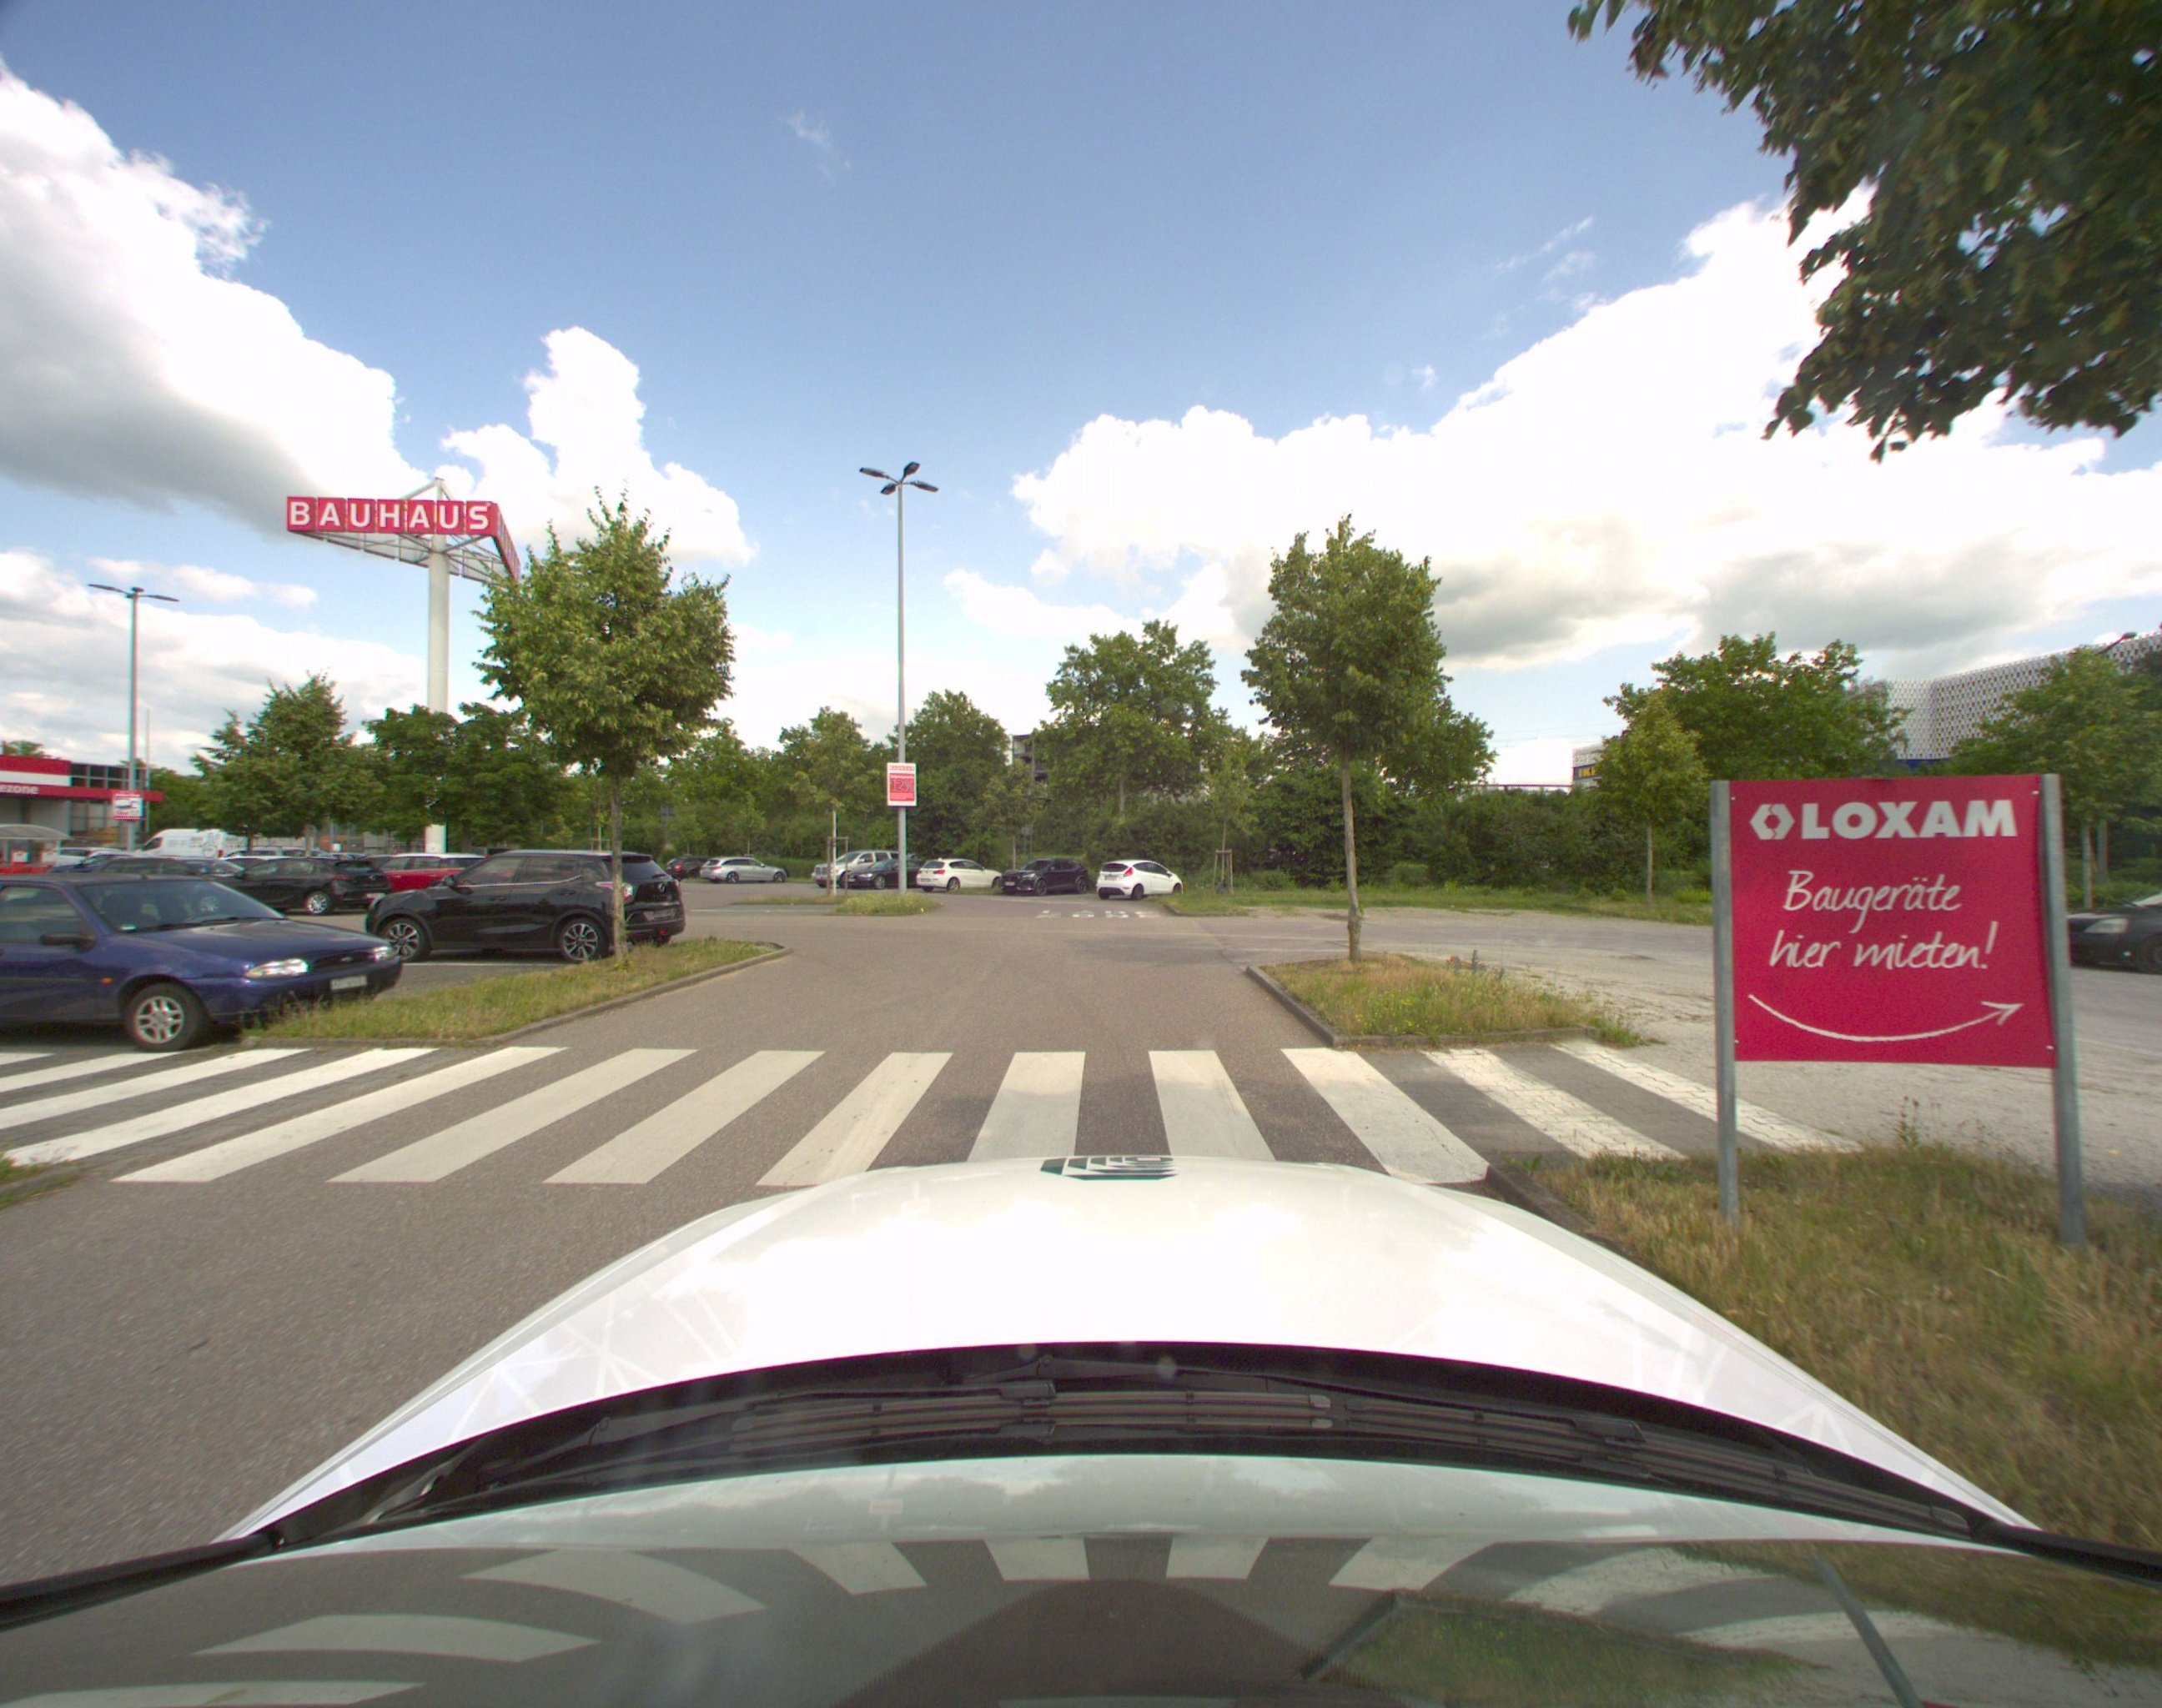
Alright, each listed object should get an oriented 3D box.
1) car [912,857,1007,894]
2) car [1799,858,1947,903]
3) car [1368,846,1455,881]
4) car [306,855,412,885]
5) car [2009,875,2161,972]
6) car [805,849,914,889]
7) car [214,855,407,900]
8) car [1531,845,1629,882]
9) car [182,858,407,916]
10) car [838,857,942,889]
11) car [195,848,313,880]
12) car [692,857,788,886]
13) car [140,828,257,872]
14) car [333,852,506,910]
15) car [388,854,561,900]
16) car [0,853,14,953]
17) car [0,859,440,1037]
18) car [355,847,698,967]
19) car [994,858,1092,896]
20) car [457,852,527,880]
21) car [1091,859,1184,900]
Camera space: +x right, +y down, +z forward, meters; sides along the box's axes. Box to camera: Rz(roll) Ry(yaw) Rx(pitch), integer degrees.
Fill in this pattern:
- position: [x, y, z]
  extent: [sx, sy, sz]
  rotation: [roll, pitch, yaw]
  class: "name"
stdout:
- position: [-5.293, 0.914, 35.960]
  extent: [1.668, 1.509, 4.107]
  rotation: [-1, -1, 39]
  class: "car"
- position: [32.009, 1.113, 33.089]
  extent: [3.948, 1.716, 2.012]
  rotation: [-2, -4, 34]
  class: "car"
- position: [17.397, 0.475, 42.921]
  extent: [3.948, 1.715, 2.013]
  rotation: [0, 0, 34]
  class: "car"
- position: [-36.637, 0.805, 41.413]
  extent: [3.752, 1.446, 1.723]
  rotation: [0, 0, -3]
  class: "car"
- position: [16.563, 1.000, 11.829]
  extent: [3.742, 1.321, 1.620]
  rotation: [0, 0, 22]
  class: "car"
- position: [-10.908, 0.688, 40.446]
  extent: [1.965, 1.842, 5.181]
  rotation: [0, 0, 35]
  class: "car"
- position: [-24.443, 0.725, 25.978]
  extent: [4.255, 1.353, 1.893]
  rotation: [0, 0, -2]
  class: "car"
- position: [23.988, 0.422, 39.201]
  extent: [3.948, 1.715, 2.013]
  rotation: [0, 0, 34]
  class: "car"
- position: [-19.700, 0.802, 20.532]
  extent: [3.862, 1.369, 1.727]
  rotation: [0, 0, -3]
  class: "car"
- position: [-9.033, 0.859, 38.850]
  extent: [1.816, 1.451, 4.755]
  rotation: [0, 0, 37]
  class: "car"
- position: [-41.812, 0.480, 41.236]
  extent: [3.975, 1.596, 1.910]
  rotation: [0, 0, -1]
  class: "car"
- position: [-18.819, 0.946, 45.111]
  extent: [1.761, 1.504, 4.684]
  rotation: [0, 0, 35]
  class: "car"
- position: [-53.141, -0.200, 49.108]
  extent: [4.696, 2.510, 2.053]
  rotation: [1, -1, 1]
  class: "car"
- position: [-18.593, 0.744, 23.009]
  extent: [3.425, 1.581, 1.709]
  rotation: [0, 0, -1]
  class: "car"
- position: [-18.962, 0.692, 25.607]
  extent: [4.062, 1.399, 1.766]
  rotation: [0, 0, -1]
  class: "car"
- position: [-19.493, 0.786, 12.400]
  extent: [4.058, 1.624, 1.783]
  rotation: [0, 0, -1]
  class: "car"
- position: [-8.123, 0.732, 7.133]
  extent: [3.737, 1.368, 1.622]
  rotation: [0, 0, 1]
  class: "car"
- position: [-8.094, 0.725, 12.121]
  extent: [3.933, 1.624, 1.737]
  rotation: [0, 0, 3]
  class: "car"
- position: [-1.499, 0.903, 33.338]
  extent: [1.711, 1.410, 4.270]
  rotation: [0, 0, 36]
  class: "car"
- position: [-43.881, 0.939, 60.802]
  extent: [1.931, 2.019, 4.064]
  rotation: [-1, -2, 6]
  class: "car"
- position: [2.168, 0.910, 30.374]
  extent: [1.649, 1.411, 3.579]
  rotation: [0, 0, 41]
  class: "car"
